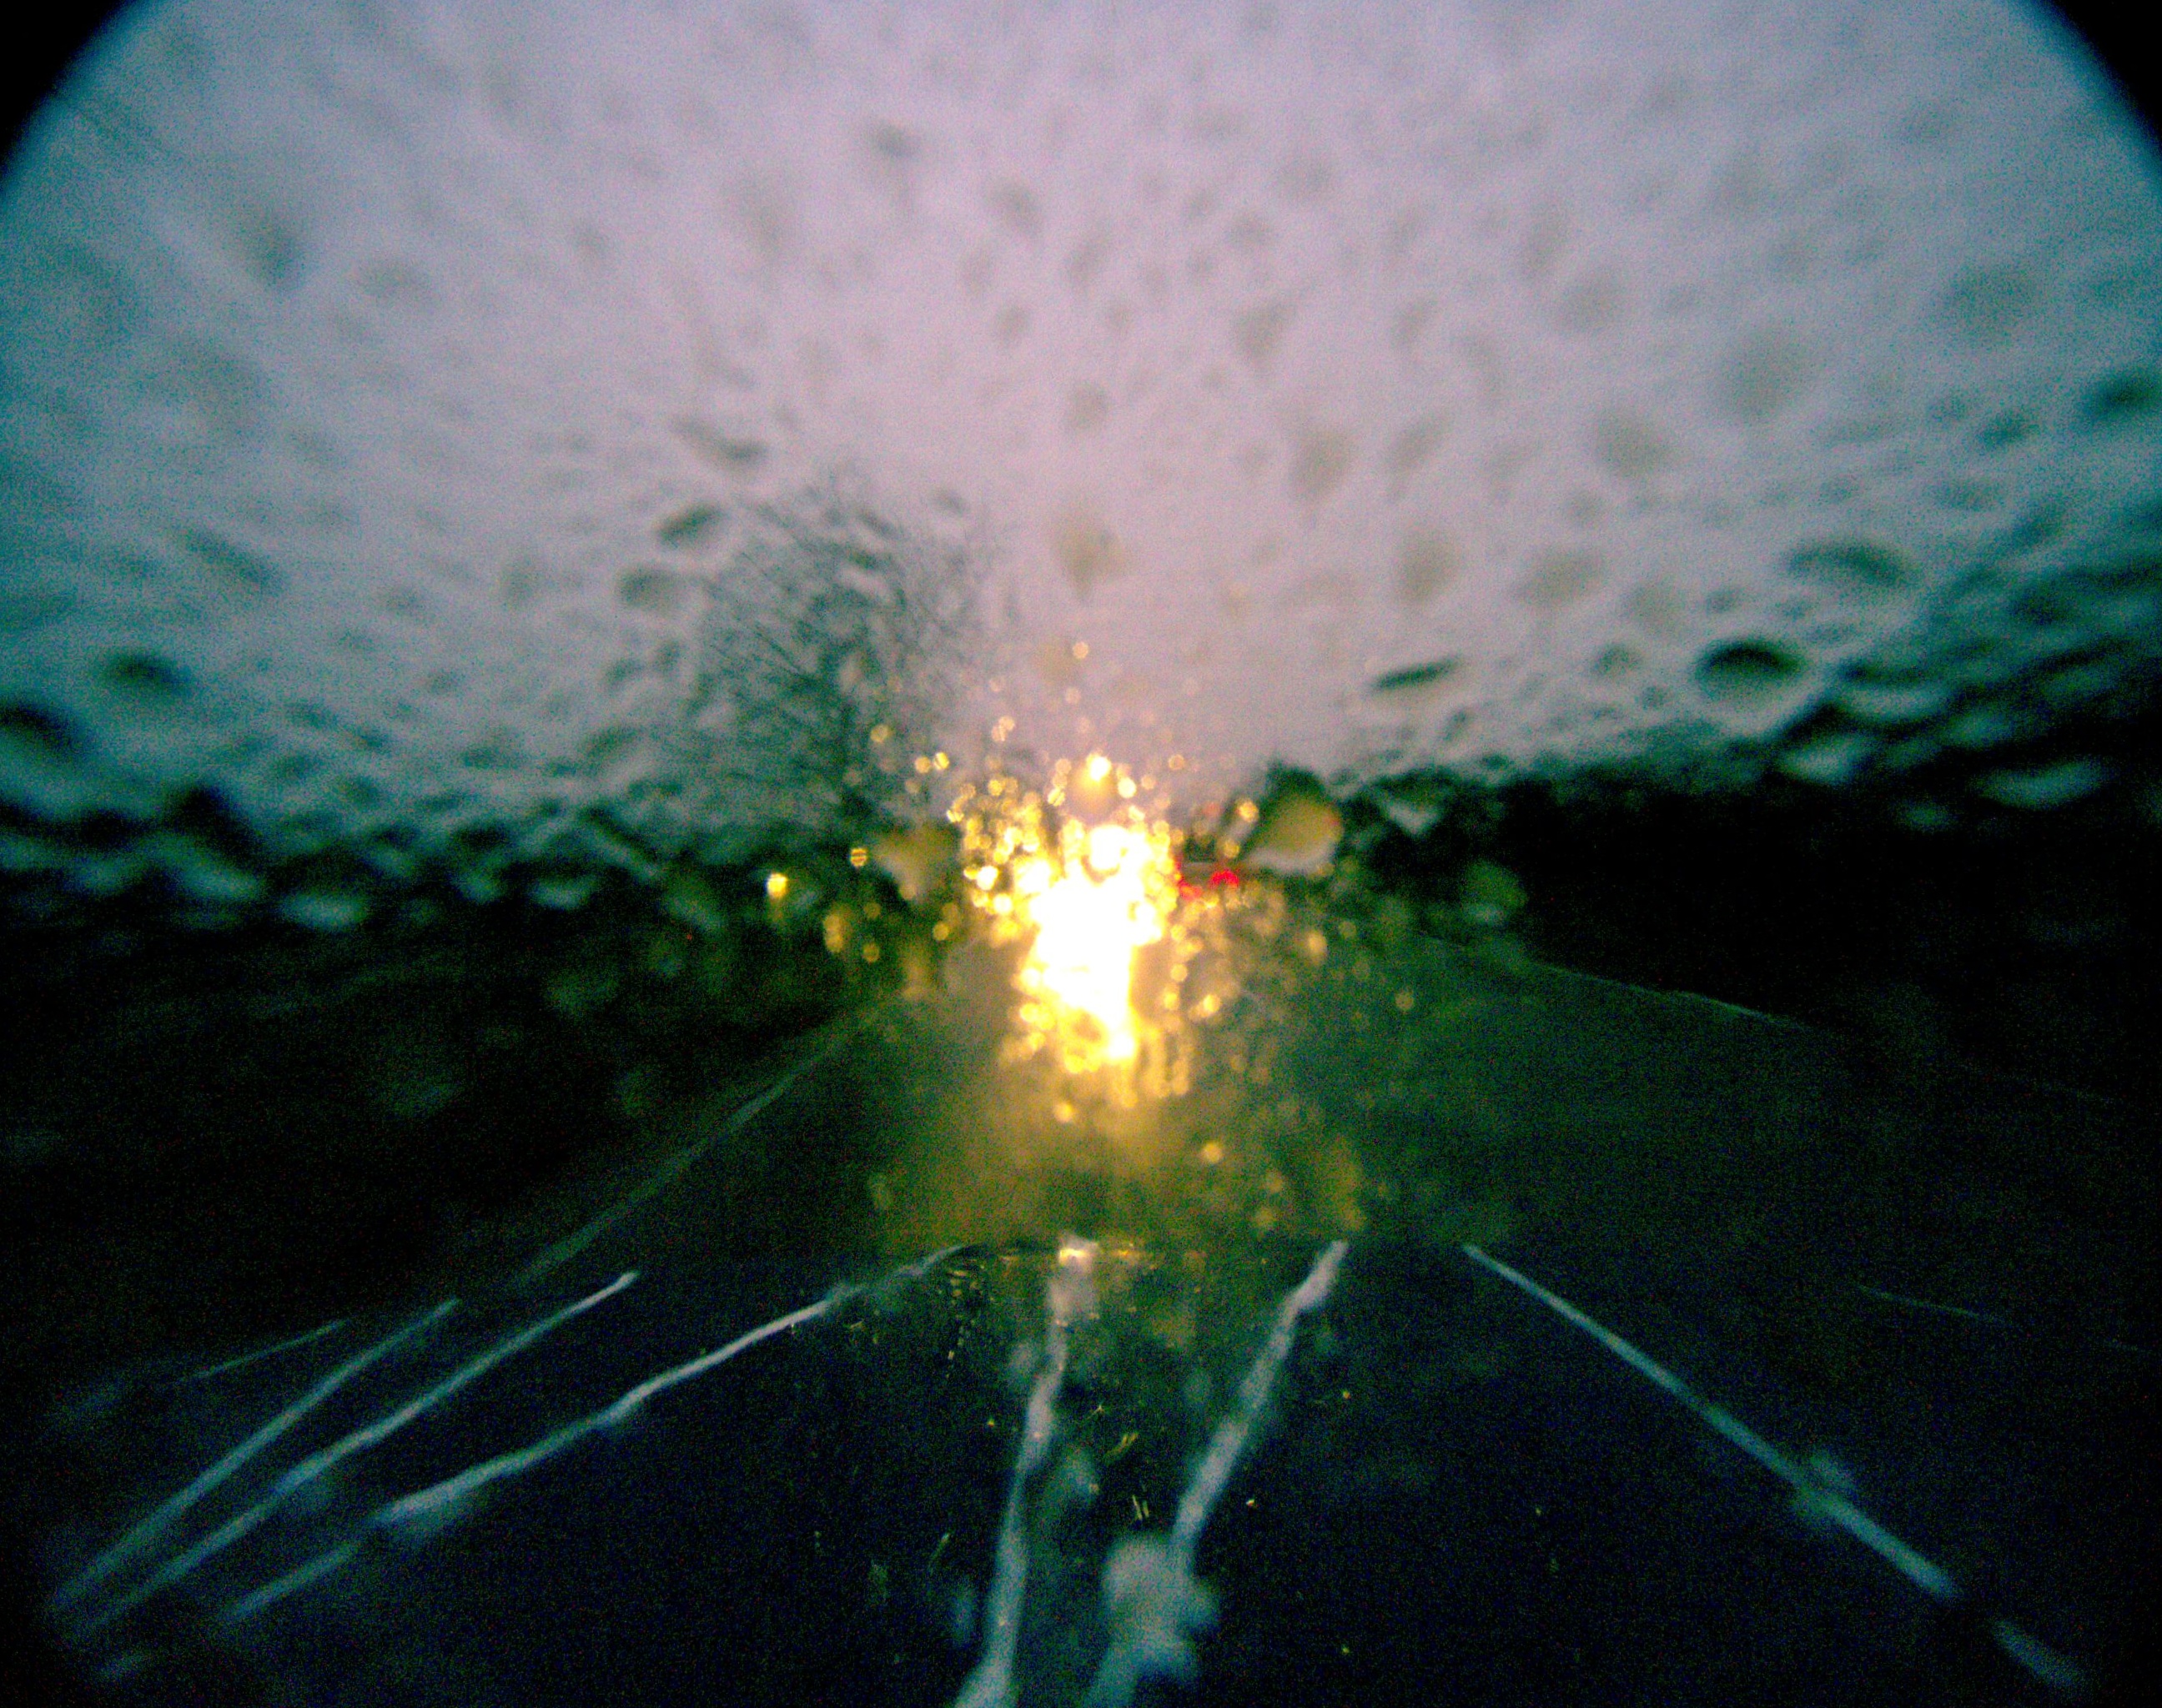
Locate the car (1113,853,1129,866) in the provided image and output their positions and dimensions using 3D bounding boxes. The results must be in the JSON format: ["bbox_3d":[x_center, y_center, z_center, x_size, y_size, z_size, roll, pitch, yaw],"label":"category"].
[{"bbox_3d":[5.045,0.687,95.912,1.784,1.586,4.692,-2,0,1],"label":"car"}]

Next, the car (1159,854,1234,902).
[{"bbox_3d":[3.800,0.754,25.565,1.822,1.433,3.455,-3,0,-2],"label":"car"}]

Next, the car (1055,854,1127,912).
[{"bbox_3d":[0.411,0.865,24.353,1.998,1.601,4.001,-2,0,4],"label":"car"}]

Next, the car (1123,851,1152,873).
[{"bbox_3d":[4.482,0.627,61.019,1.927,1.644,4.104,-2,0,0],"label":"car"}]
